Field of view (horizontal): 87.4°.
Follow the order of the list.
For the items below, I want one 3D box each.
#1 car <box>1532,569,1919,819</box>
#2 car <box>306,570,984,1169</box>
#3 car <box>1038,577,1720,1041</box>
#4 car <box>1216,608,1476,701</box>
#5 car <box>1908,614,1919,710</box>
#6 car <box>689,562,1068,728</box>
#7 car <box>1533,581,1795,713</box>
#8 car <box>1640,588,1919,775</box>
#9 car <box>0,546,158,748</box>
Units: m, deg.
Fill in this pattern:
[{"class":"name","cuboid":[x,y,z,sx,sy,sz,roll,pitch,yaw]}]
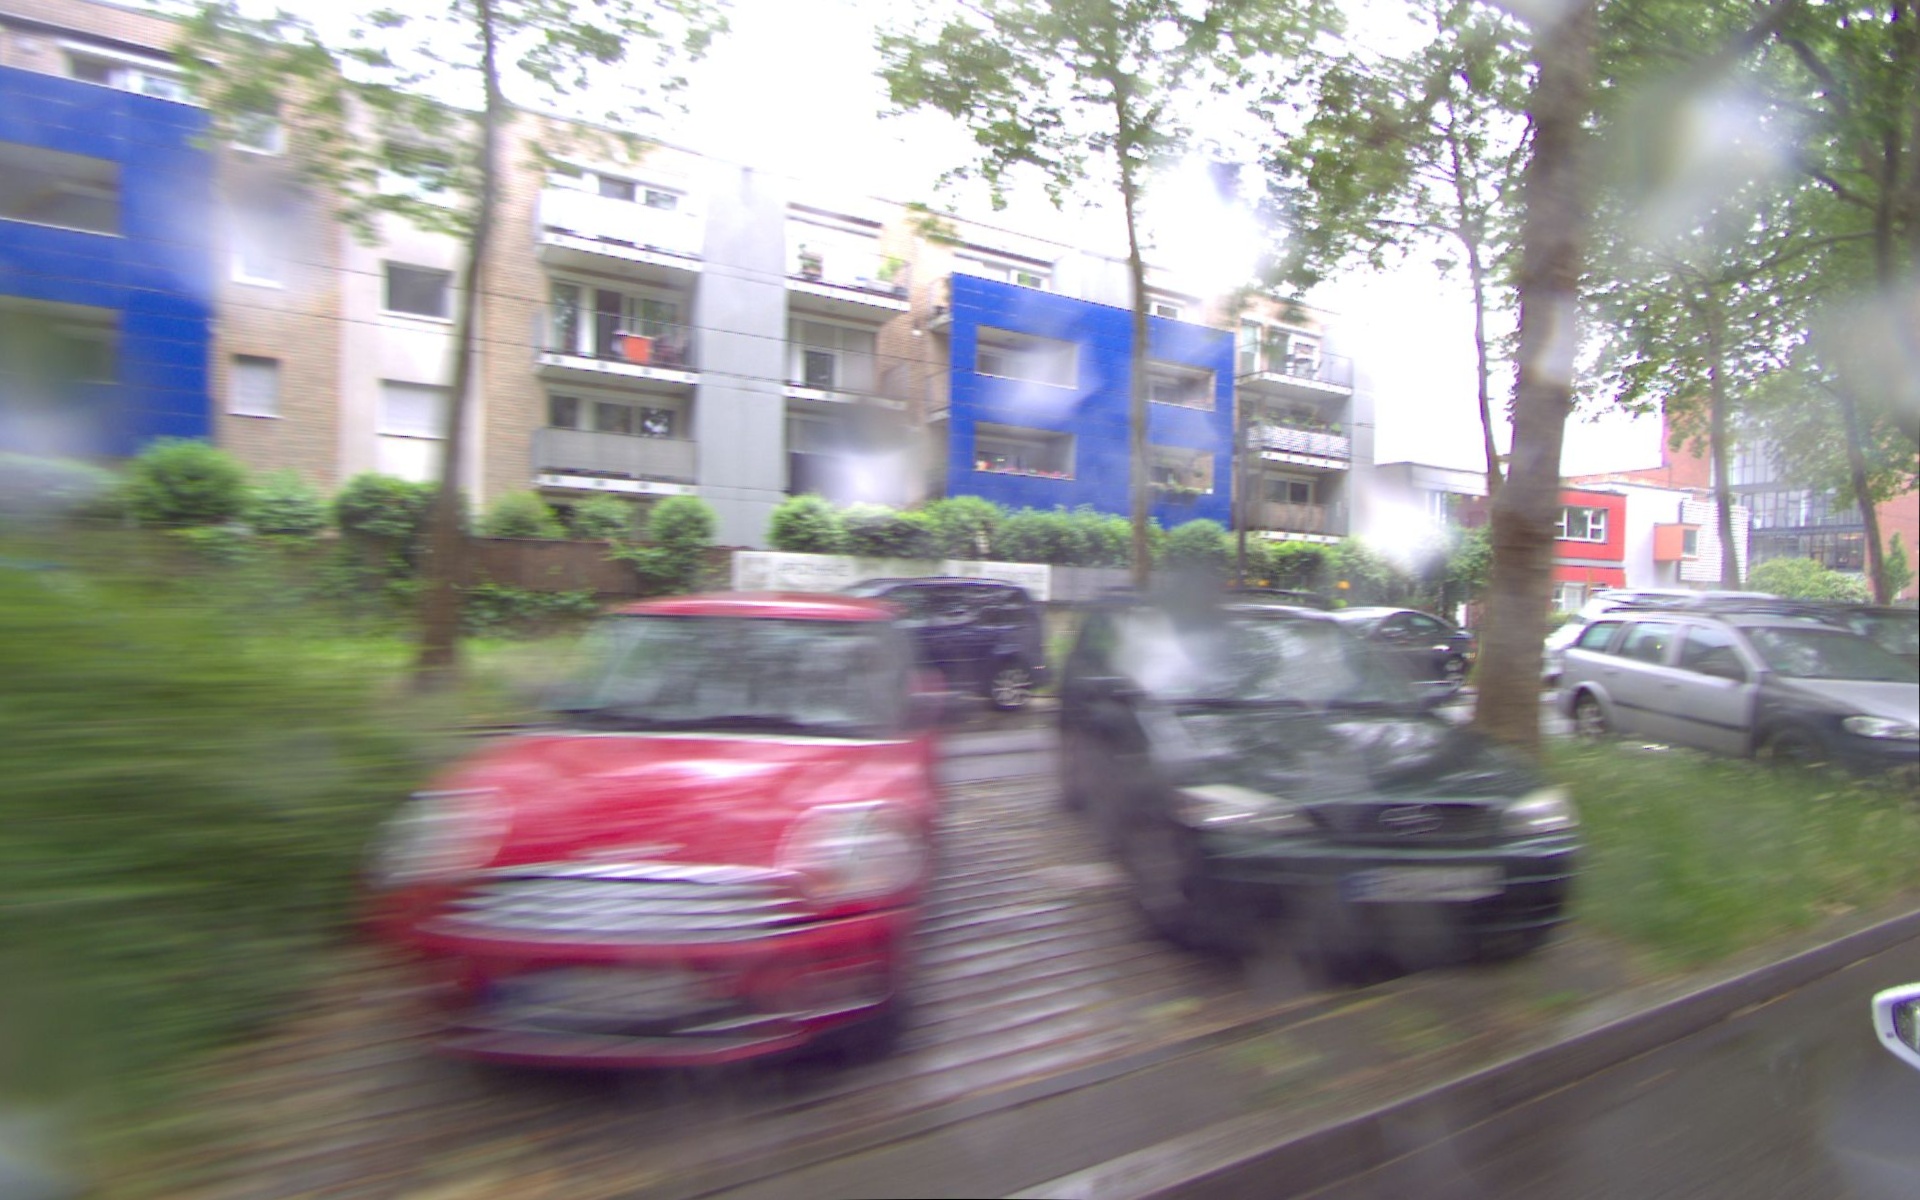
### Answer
[{"class":"car","cuboid":[7.211,0.702,8.909,1.835,1.667,4.419,1,-2,1]},{"class":"car","cuboid":[-0.795,0.658,4.380,1.709,1.499,3.653,1,1,0]},{"class":"car","cuboid":[1.539,0.652,5.382,1.710,1.499,4.228,1,1,-3]},{"class":"car","cuboid":[6.684,0.863,17.358,4.206,1.408,1.985,0,0,-29]},{"class":"car","cuboid":[16.338,1.031,14.227,1.715,1.519,4.065,1,1,-6]},{"class":"car","cuboid":[-0.958,0.484,12.610,4.372,1.764,1.893,1,1,-32]},{"class":"car","cuboid":[12.487,0.740,17.705,5.104,2.027,2.025,1,1,-34]},{"class":"car","cuboid":[9.548,0.753,10.398,1.892,1.682,4.417,1,0,-2]},{"class":"car","cuboid":[-9.016,0.323,7.764,4.169,1.554,1.893,1,1,-32]}]
